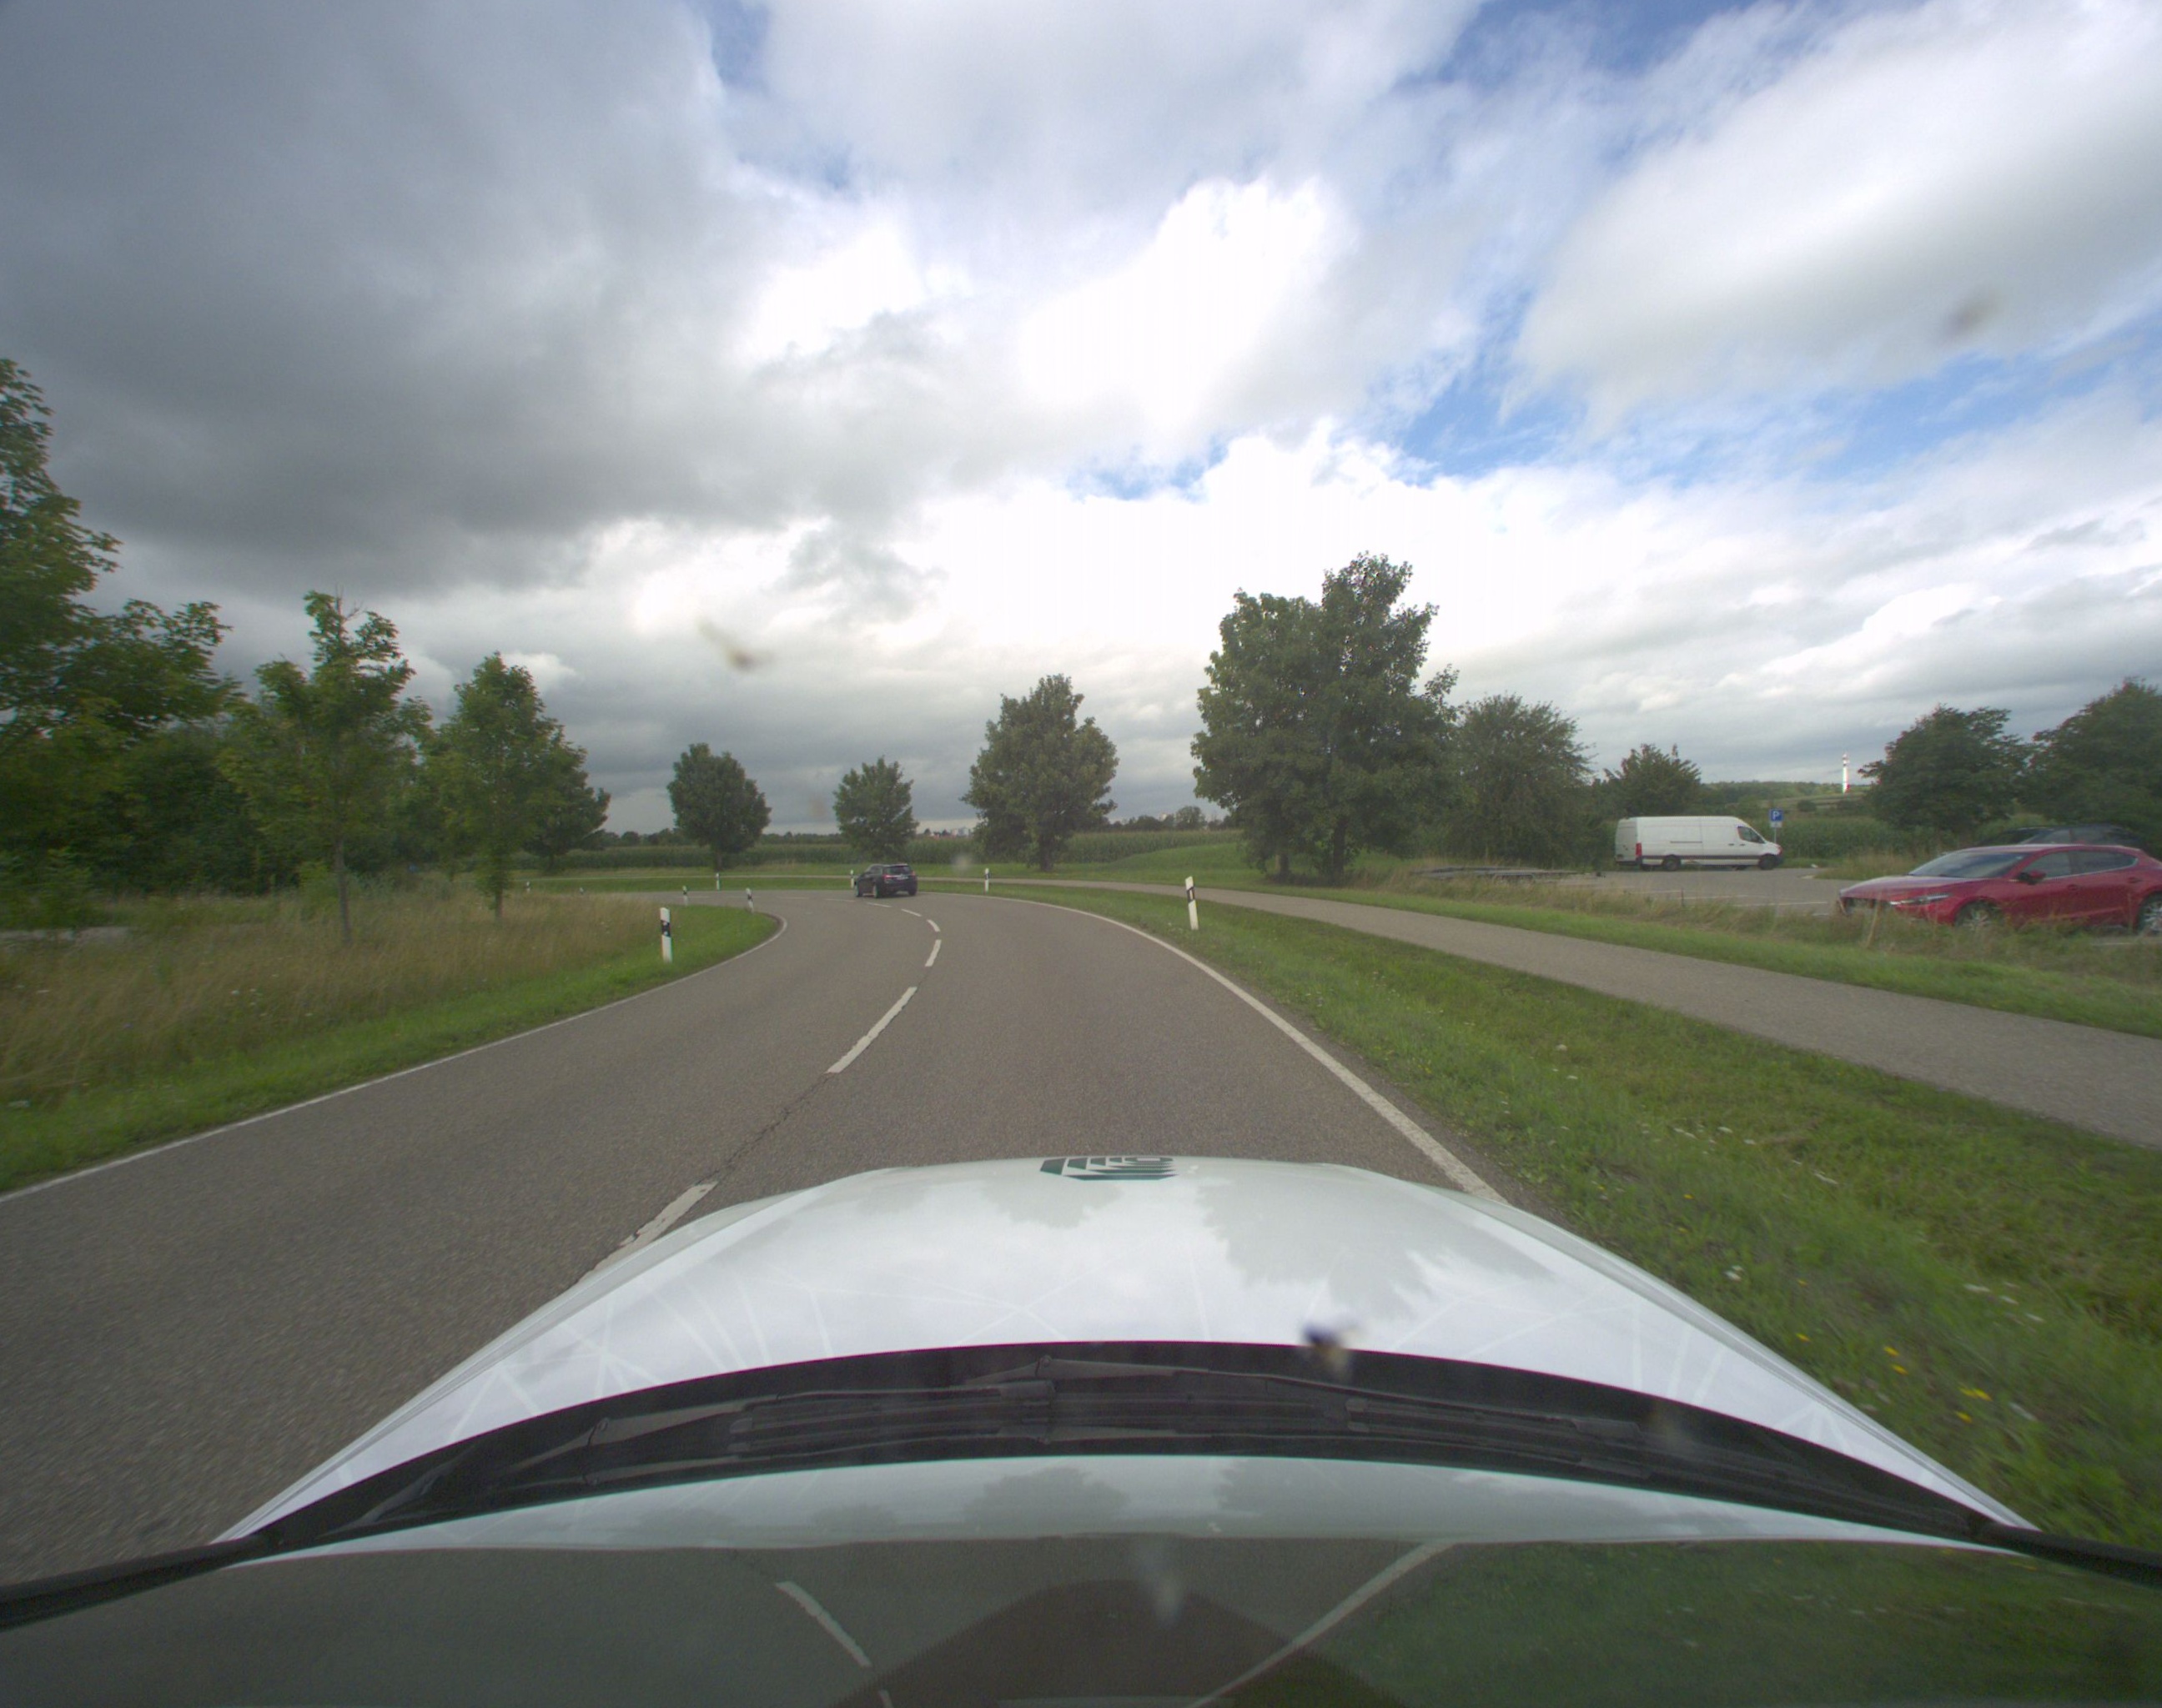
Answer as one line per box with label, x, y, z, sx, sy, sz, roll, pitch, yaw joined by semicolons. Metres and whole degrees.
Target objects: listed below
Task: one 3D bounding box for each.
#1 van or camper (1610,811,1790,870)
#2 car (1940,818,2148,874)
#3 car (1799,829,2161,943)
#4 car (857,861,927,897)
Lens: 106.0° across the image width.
van or camper;29.139;-0.619;38.553;6.708;2.561;2.052;-1;0;6
car;26.584;-0.223;22.588;3.609;1.439;1.709;-1;0;4
car;14.840;0.478;13.363;4.313;1.575;1.972;-2;0;1
car;-8.472;1.065;36.293;1.854;1.417;3.960;-1;0;-32
